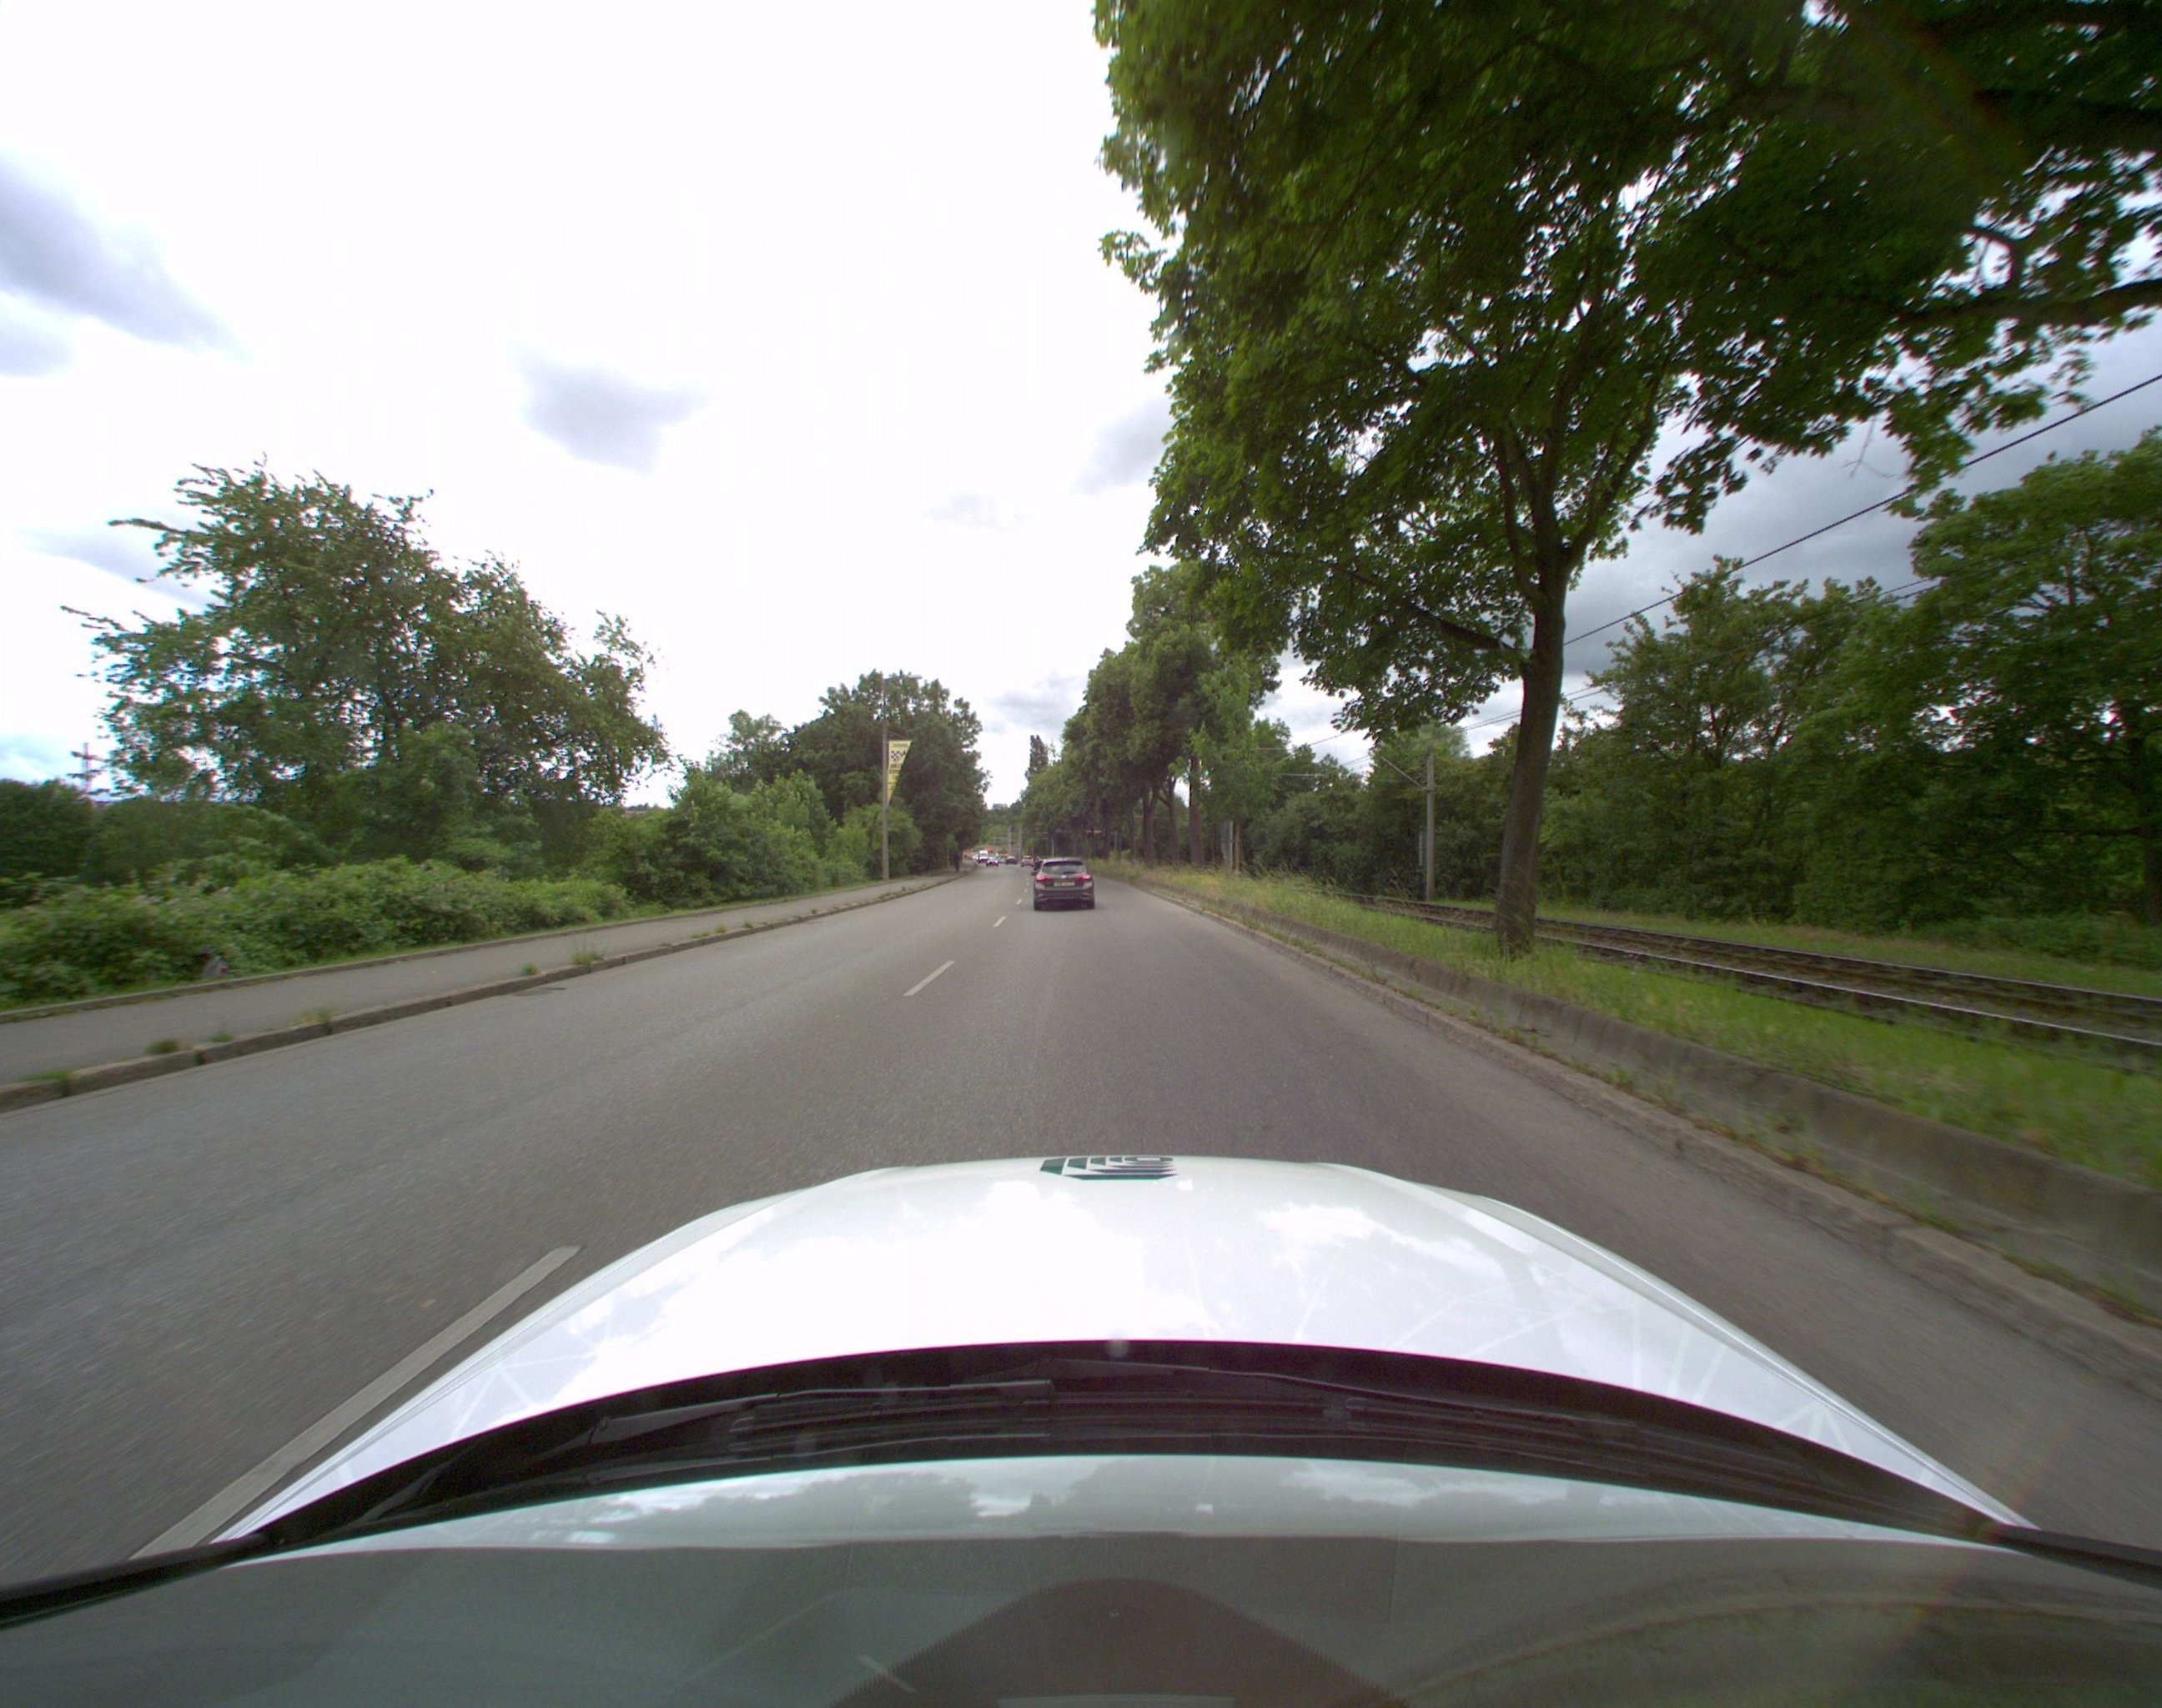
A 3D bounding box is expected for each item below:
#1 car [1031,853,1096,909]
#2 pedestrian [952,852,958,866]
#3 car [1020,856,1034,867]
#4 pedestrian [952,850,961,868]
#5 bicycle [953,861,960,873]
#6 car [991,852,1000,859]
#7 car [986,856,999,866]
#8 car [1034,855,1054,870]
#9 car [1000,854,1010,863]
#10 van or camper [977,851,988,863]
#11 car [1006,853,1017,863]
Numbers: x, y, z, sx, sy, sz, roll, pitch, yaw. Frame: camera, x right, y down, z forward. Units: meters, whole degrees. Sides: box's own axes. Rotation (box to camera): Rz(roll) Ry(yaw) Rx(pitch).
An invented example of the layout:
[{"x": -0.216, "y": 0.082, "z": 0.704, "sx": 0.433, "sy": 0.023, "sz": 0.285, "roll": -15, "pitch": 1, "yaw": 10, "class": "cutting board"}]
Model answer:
[{"x": -0.584, "y": 0.759, "z": 24.925, "sx": 1.812, "sy": 1.508, "sz": 3.996, "roll": -1, "pitch": 1, "yaw": -3, "class": "car"}, {"x": -15.301, "y": 0.584, "z": 98.845, "sx": 0.694, "sy": 1.621, "sz": 0.683, "roll": 2, "pitch": 0, "yaw": -3, "class": "pedestrian"}, {"x": -7.556, "y": 1.013, "z": 113.534, "sx": 1.773, "sy": 1.472, "sz": 3.994, "roll": 2, "pitch": 1, "yaw": -5, "class": "car"}, {"x": -11.230, "y": 0.480, "z": 73.332, "sx": 0.616, "sy": 1.571, "sz": 0.848, "roll": 2, "pitch": 0, "yaw": -2, "class": "pedestrian"}, {"x": -11.241, "y": 1.178, "z": 73.355, "sx": 0.487, "sy": 1.030, "sz": 1.123, "roll": 2, "pitch": 1, "yaw": -2, "class": "bicycle"}, {"x": -18.651, "y": 0.342, "z": 177.552, "sx": 1.773, "sy": 1.472, "sz": 3.994, "roll": 2, "pitch": 1, "yaw": -5, "class": "car"}, {"x": -13.282, "y": 1.064, "z": 121.852, "sx": 1.746, "sy": 1.464, "sz": 3.914, "roll": 1, "pitch": 0, "yaw": -4, "class": "car"}, {"x": -3.845, "y": 0.868, "z": 85.157, "sx": 1.770, "sy": 1.472, "sz": 4.001, "roll": 2, "pitch": 1, "yaw": 1, "class": "car"}, {"x": -14.428, "y": 0.844, "z": 155.392, "sx": 1.773, "sy": 1.472, "sz": 3.994, "roll": 1, "pitch": 1, "yaw": -5, "class": "car"}, {"x": -19.445, "y": 0.559, "z": 160.758, "sx": 1.924, "sy": 2.151, "sz": 3.922, "roll": 2, "pitch": 1, "yaw": -8, "class": "van or camper"}, {"x": -11.776, "y": 0.702, "z": 138.151, "sx": 1.773, "sy": 1.472, "sz": 3.994, "roll": 2, "pitch": 1, "yaw": -5, "class": "car"}]
